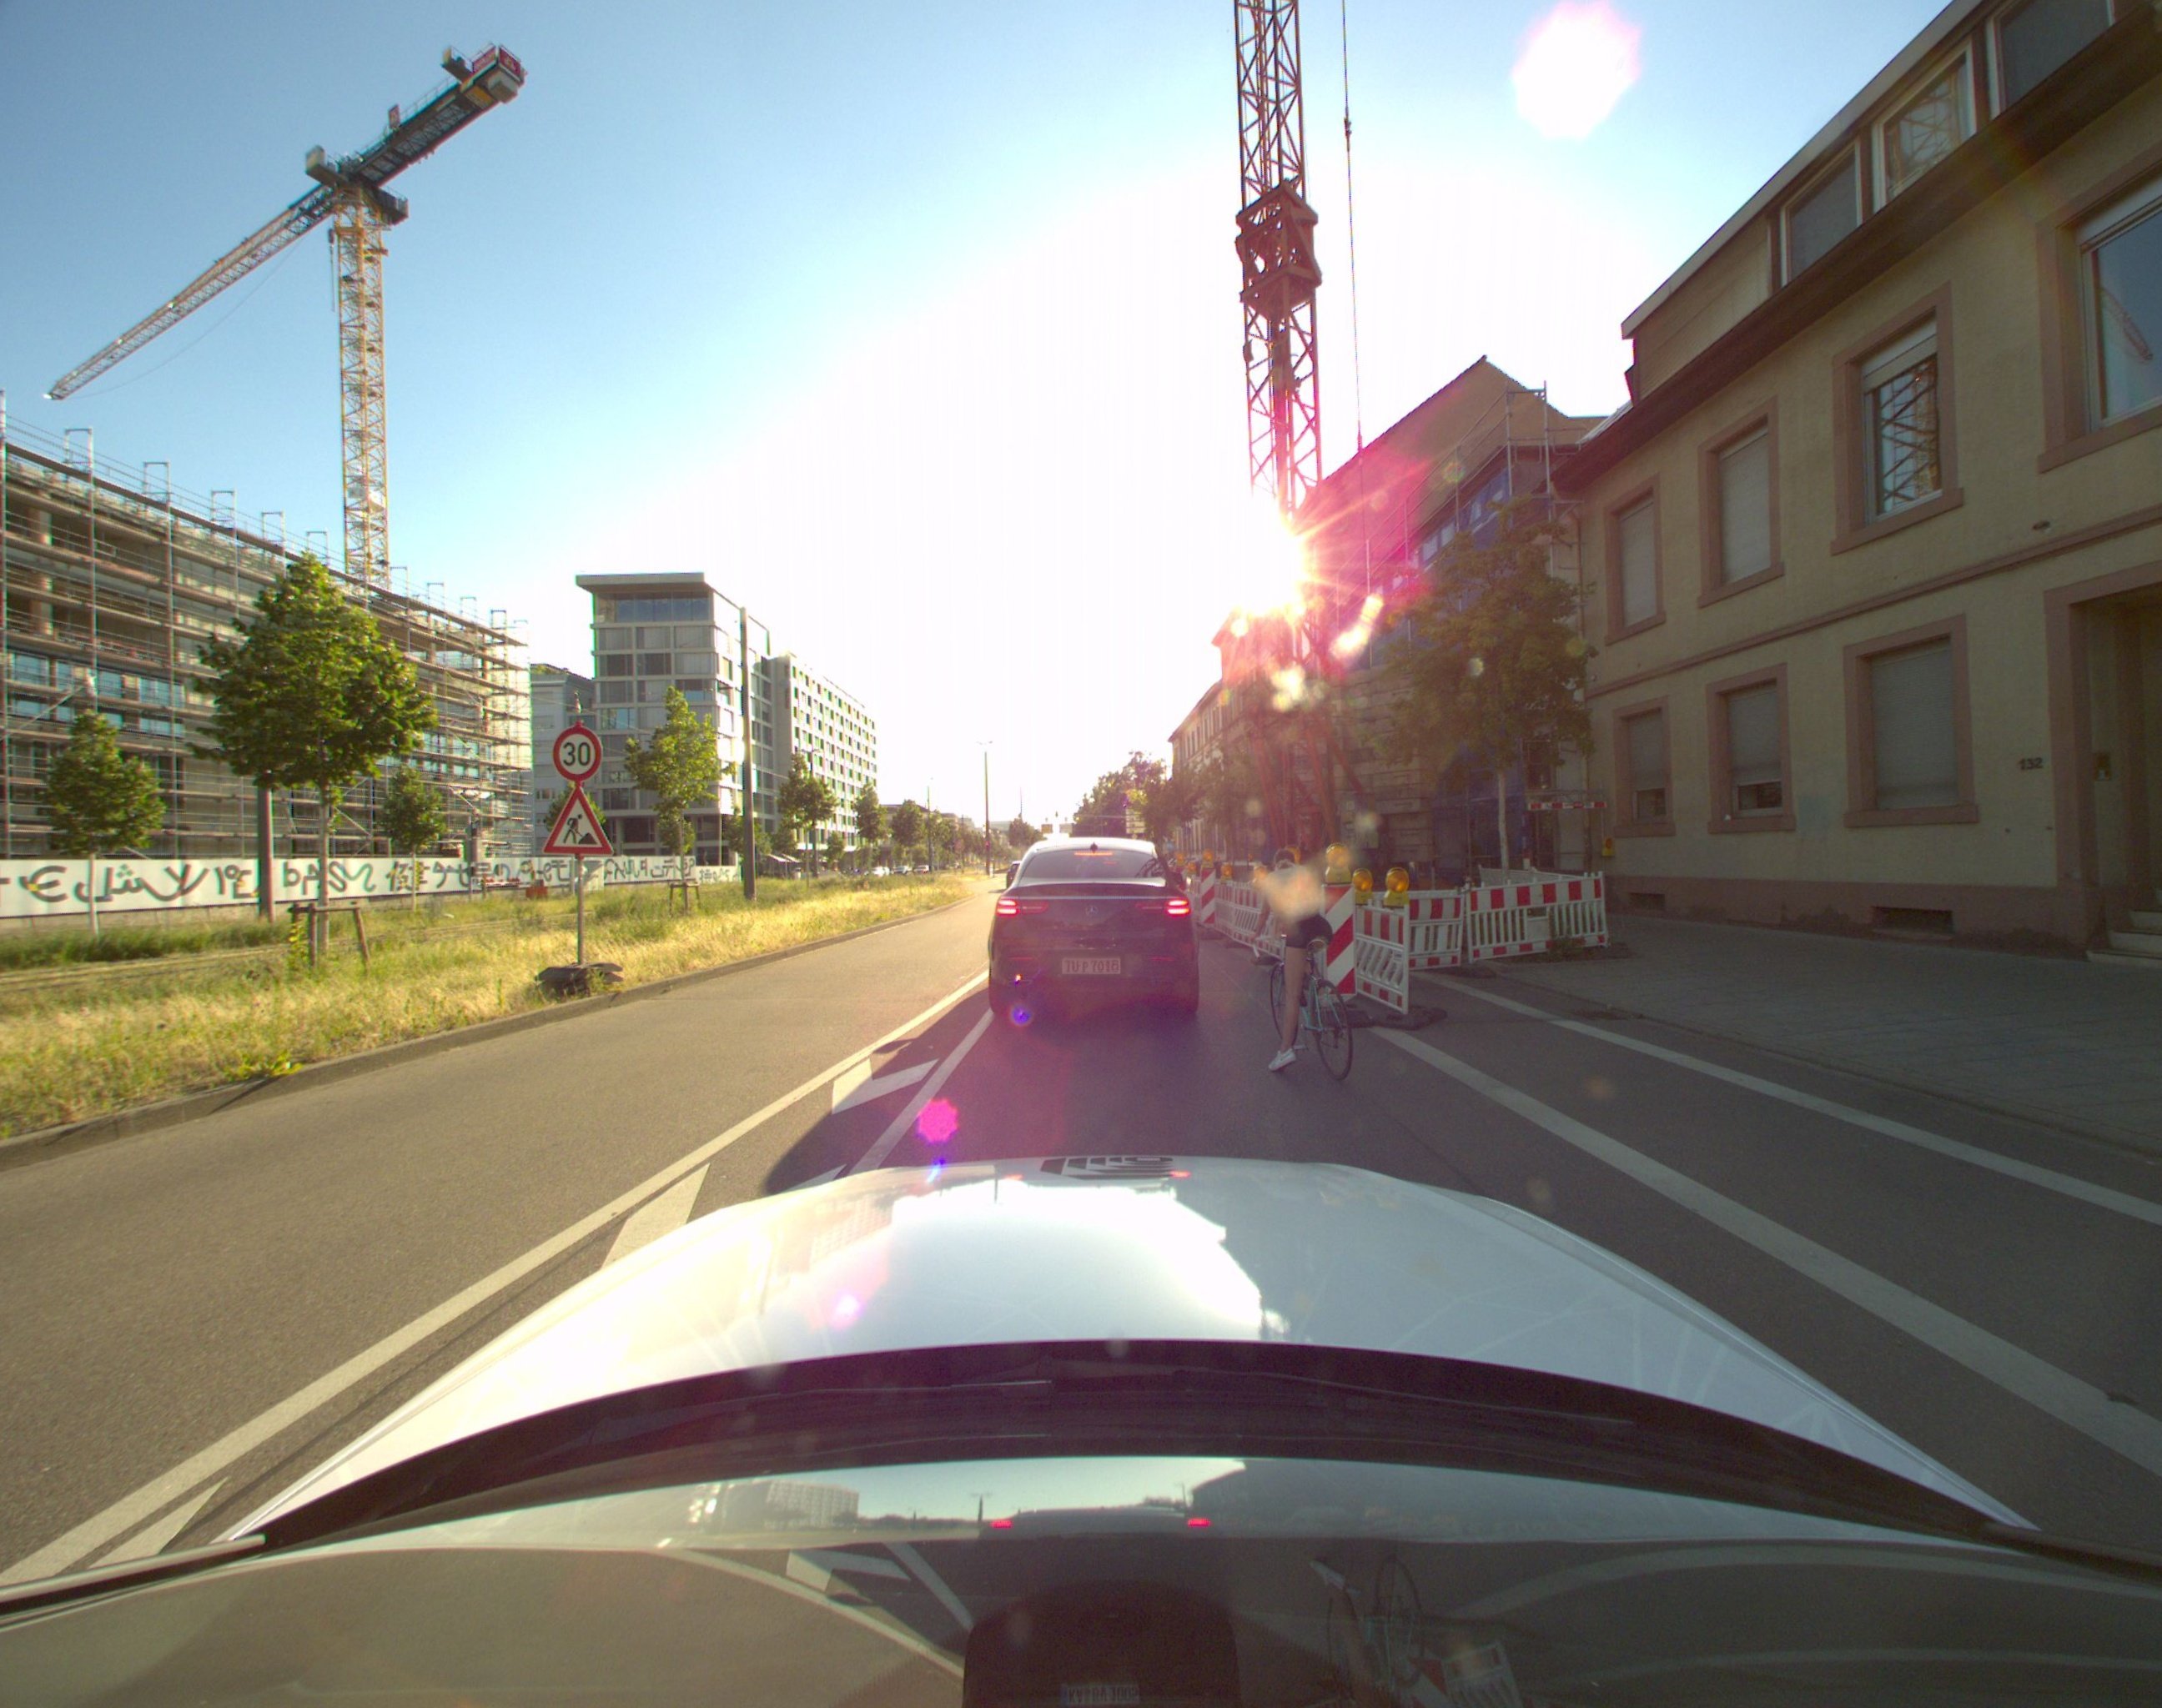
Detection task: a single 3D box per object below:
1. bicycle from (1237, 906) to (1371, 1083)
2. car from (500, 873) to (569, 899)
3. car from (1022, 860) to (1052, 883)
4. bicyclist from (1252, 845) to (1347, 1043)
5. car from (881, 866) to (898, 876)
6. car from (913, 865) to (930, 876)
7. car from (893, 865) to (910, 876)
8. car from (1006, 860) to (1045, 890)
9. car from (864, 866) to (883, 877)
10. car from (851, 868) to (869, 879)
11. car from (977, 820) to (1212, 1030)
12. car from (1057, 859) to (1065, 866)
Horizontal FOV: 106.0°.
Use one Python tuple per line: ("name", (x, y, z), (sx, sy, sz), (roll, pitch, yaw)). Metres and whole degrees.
("bicycle", (1.615, 0.967, 6.158), (0.511, 1.052, 1.724), (0, -1, -1))
("car", (-32.551, 1.869, 48.624), (1.703, 1.442, 3.581), (0, -1, 0))
("car", (-2.783, 1.114, 52.262), (1.703, 1.442, 3.581), (0, -1, 0))
("bicyclist", (1.612, 0.638, 6.079), (0.521, 1.395, 0.614), (0, -1, -1))
("car", (-28.780, 2.572, 122.714), (1.703, 1.442, 3.581), (0, -1, 0))
("car", (-22.626, 2.337, 115.634), (1.703, 1.442, 3.581), (0, -1, 0))
("car", (-25.229, 2.347, 114.477), (1.703, 1.442, 3.581), (0, -1, 0))
("car", (-2.765, 1.032, 41.323), (1.703, 1.442, 3.581), (0, -1, 0))
("car", (-28.080, 2.333, 110.143), (1.703, 1.442, 3.581), (0, -1, 0))
("car", (-32.176, 2.813, 118.532), (1.703, 1.442, 3.581), (0, -1, 0))
("car", (0.178, 0.623, 8.923), (1.986, 1.772, 4.001), (0, -1, 2))
("car", (-4.482, 1.907, 183.892), (1.703, 1.442, 3.581), (0, -1, 0))
